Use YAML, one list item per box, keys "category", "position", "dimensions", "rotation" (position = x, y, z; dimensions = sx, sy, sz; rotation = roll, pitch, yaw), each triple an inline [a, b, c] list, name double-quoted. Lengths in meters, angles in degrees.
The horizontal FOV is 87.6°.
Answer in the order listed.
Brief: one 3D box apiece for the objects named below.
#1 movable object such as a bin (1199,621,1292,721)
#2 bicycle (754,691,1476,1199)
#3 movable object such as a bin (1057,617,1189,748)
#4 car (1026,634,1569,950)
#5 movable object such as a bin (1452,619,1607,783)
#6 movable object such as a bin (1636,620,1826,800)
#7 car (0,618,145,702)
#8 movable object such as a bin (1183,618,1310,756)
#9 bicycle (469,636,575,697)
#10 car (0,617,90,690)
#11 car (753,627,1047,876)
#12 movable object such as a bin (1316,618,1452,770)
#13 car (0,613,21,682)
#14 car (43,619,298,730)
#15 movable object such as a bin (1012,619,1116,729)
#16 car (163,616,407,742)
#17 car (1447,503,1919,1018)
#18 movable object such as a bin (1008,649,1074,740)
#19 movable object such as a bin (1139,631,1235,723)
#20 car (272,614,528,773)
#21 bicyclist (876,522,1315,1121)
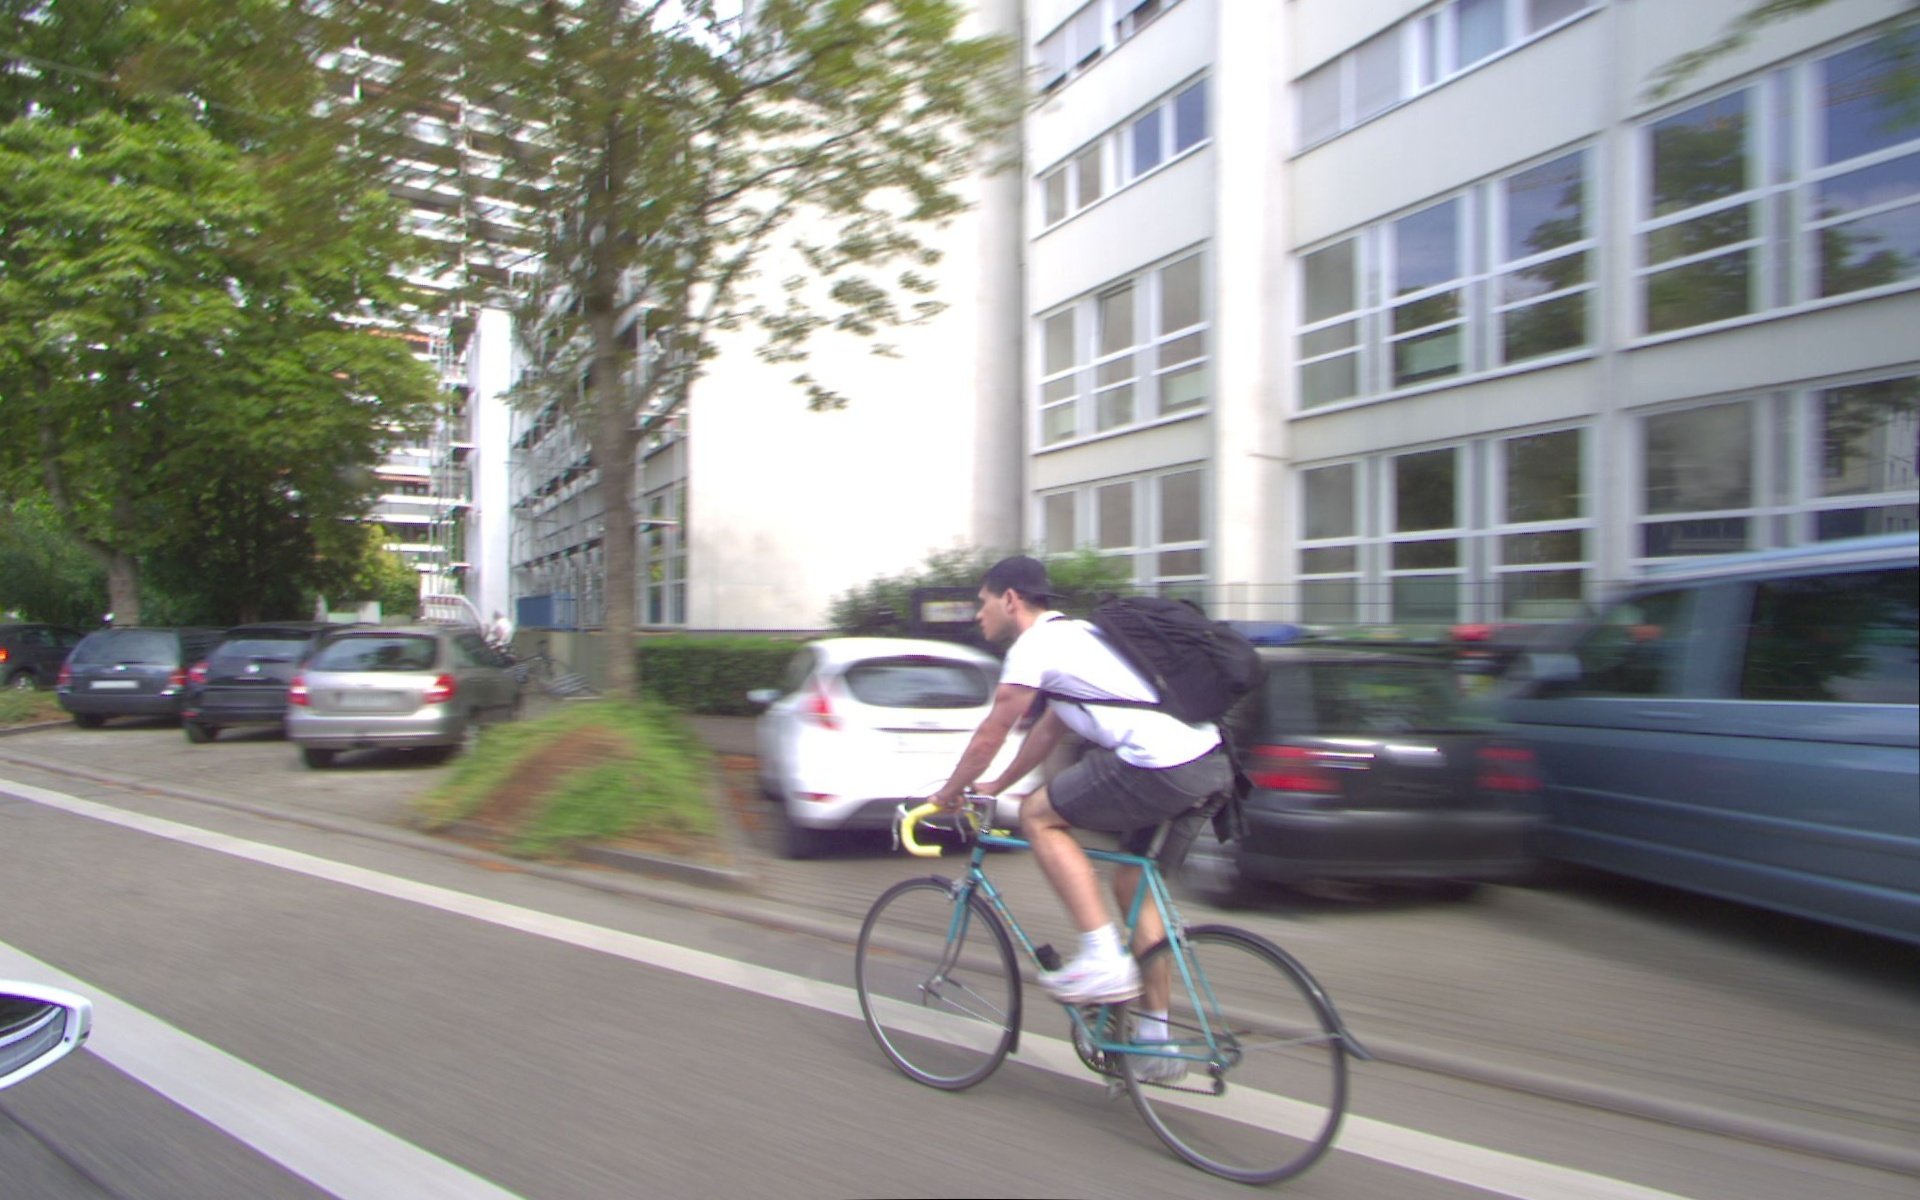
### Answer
- category: "movable object such as a bin"
  position: [4.717, 1.150, 16.591]
  dimensions: [1.022, 1.582, 1.072]
  rotation: [2, -2, -34]
- category: "bicycle"
  position: [0.390, 0.969, 3.079]
  dimensions: [2.093, 1.265, 0.656]
  rotation: [0, -2, 31]
- category: "movable object such as a bin"
  position: [2.053, 0.996, 12.566]
  dimensions: [1.315, 1.527, 1.068]
  rotation: [0, -2, 32]
- category: "car"
  position: [1.842, 0.973, 6.769]
  dimensions: [1.647, 1.478, 3.825]
  rotation: [1, -2, -15]
- category: "movable object such as a bin"
  position: [5.792, 0.976, 10.194]
  dimensions: [1.304, 1.527, 1.068]
  rotation: [0, -2, 32]
- category: "movable object such as a bin"
  position: [7.139, 0.969, 9.365]
  dimensions: [1.304, 1.527, 1.068]
  rotation: [0, -2, 32]
- category: "car"
  position: [-17.499, 1.072, 18.914]
  dimensions: [1.593, 1.461, 3.535]
  rotation: [1, -1, -7]
- category: "movable object such as a bin"
  position: [3.418, 0.996, 11.897]
  dimensions: [1.196, 1.527, 1.068]
  rotation: [0, -2, 32]
- category: "bicycle"
  position: [-8.937, 1.332, 20.469]
  dimensions: [1.944, 1.143, 0.536]
  rotation: [-1, 0, -29]
- category: "car"
  position: [-20.066, 1.087, 20.625]
  dimensions: [1.530, 1.461, 3.447]
  rotation: [1, -1, -7]
- category: "car"
  position: [-0.715, 0.973, 8.007]
  dimensions: [1.611, 1.478, 3.825]
  rotation: [1, -2, -15]
- category: "movable object such as a bin"
  position: [4.631, 0.981, 10.913]
  dimensions: [1.196, 1.527, 1.068]
  rotation: [0, -2, 32]
- category: "car"
  position: [-22.832, 1.053, 21.922]
  dimensions: [1.530, 1.593, 3.447]
  rotation: [1, -1, -7]
- category: "car"
  position: [-11.889, 1.070, 15.409]
  dimensions: [1.610, 1.477, 3.737]
  rotation: [1, -2, -13]
- category: "movable object such as a bin"
  position: [1.538, 1.071, 14.856]
  dimensions: [1.105, 1.542, 1.072]
  rotation: [2, -2, -34]
- category: "car"
  position: [-9.379, 1.042, 14.278]
  dimensions: [1.610, 1.541, 3.737]
  rotation: [1, -2, -13]
- category: "car"
  position: [4.554, 0.665, 4.711]
  dimensions: [1.798, 2.040, 4.273]
  rotation: [1, -2, -13]
- category: "movable object such as a bin"
  position: [1.041, 1.192, 12.840]
  dimensions: [0.566, 1.117, 0.648]
  rotation: [0, -2, 41]
- category: "movable object such as a bin"
  position: [3.589, 1.202, 15.873]
  dimensions: [1.022, 1.385, 1.072]
  rotation: [2, -2, -34]
- category: "car"
  position: [-6.288, 0.976, 11.710]
  dimensions: [1.610, 1.541, 3.737]
  rotation: [1, -2, -13]
- category: "bicyclist"
  position: [0.415, 0.561, 3.070]
  dimensions: [1.161, 1.482, 0.656]
  rotation: [0, -1, 31]
